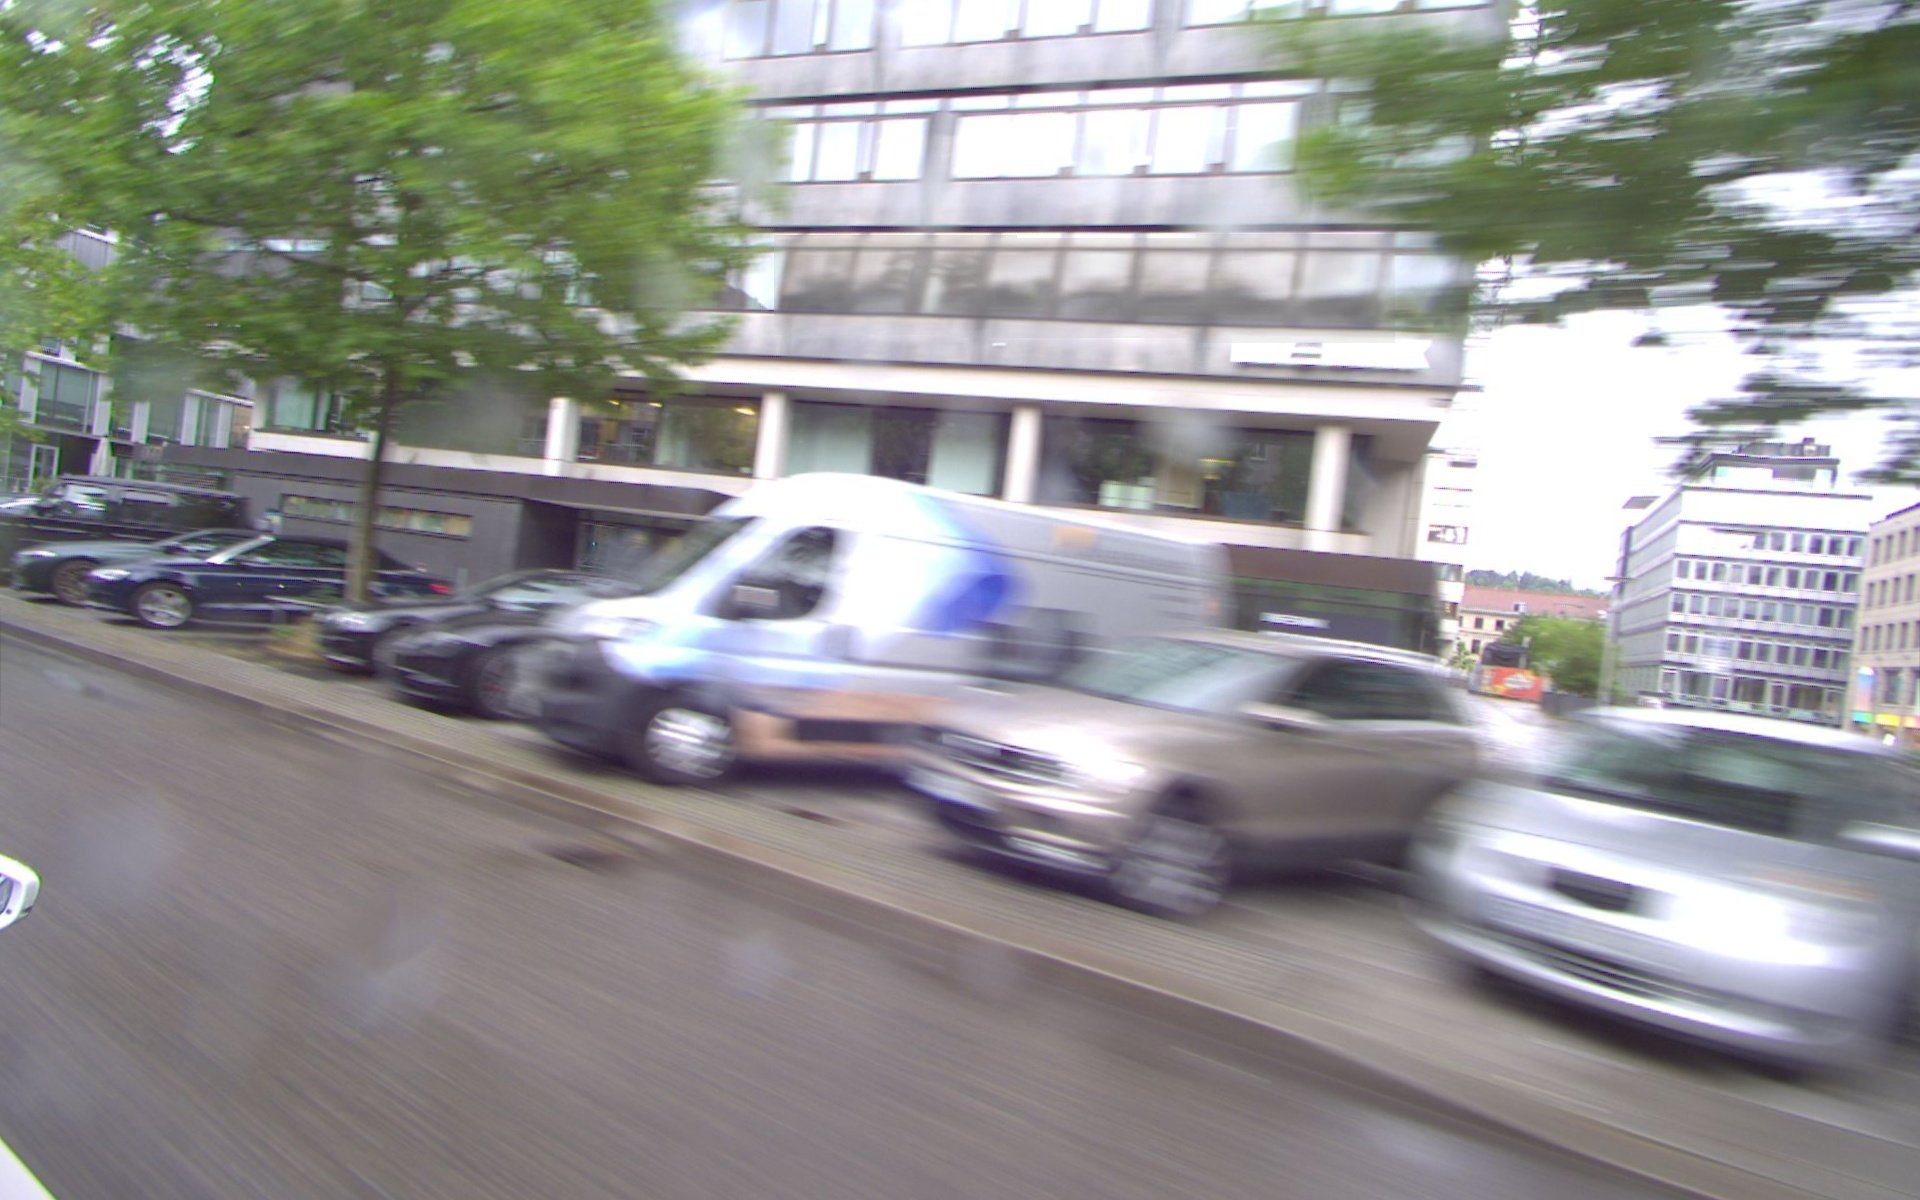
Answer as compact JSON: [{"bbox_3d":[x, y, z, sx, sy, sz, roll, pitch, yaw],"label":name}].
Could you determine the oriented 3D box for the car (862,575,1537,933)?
[{"bbox_3d":[1.719,0.991,6.702,4.229,1.687,1.803,9,-2,-32],"label":"car"}]

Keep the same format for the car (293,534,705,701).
[{"bbox_3d":[-5.455,0.258,12.168,4.171,1.453,1.706,8,-1,-32],"label":"car"}]

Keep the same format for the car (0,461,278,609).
[{"bbox_3d":[-14.864,-1.136,17.363,4.902,2.003,1.913,7,0,-32],"label":"car"}]

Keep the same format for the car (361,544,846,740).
[{"bbox_3d":[-3.622,0.476,10.453,4.358,1.453,1.925,8,-1,-32],"label":"car"}]

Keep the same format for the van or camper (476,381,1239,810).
[{"bbox_3d":[-0.630,0.256,8.672,6.022,2.588,2.088,8,-1,-31],"label":"van or camper"}]

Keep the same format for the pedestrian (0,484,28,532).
[{"bbox_3d":[-36.908,-3.586,39.200,0.758,1.807,0.640,5,2,30],"label":"pedestrian"}]

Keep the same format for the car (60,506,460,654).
[{"bbox_3d":[-9.690,-0.217,14.354,4.335,1.453,1.747,8,-1,-32],"label":"car"}]

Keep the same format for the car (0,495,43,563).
[{"bbox_3d":[-23.765,-1.860,22.590,4.258,1.507,1.829,7,0,-29],"label":"car"}]

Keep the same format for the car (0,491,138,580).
[{"bbox_3d":[-19.780,-1.471,20.298,4.760,1.553,1.846,7,0,-44],"label":"car"}]

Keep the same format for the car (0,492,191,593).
[{"bbox_3d":[-17.278,-1.169,18.684,4.524,1.525,1.852,7,0,-34],"label":"car"}]

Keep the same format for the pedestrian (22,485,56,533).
[{"bbox_3d":[-36.306,-3.577,39.650,0.903,1.807,0.666,5,3,27],"label":"pedestrian"}]

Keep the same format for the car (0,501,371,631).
[{"bbox_3d":[-12.037,-0.479,15.891,4.586,1.411,1.834,7,-1,-30],"label":"car"}]

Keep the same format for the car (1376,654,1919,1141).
[{"bbox_3d":[4.031,1.313,5.374,3.634,1.565,1.697,9,-2,-39],"label":"car"}]
